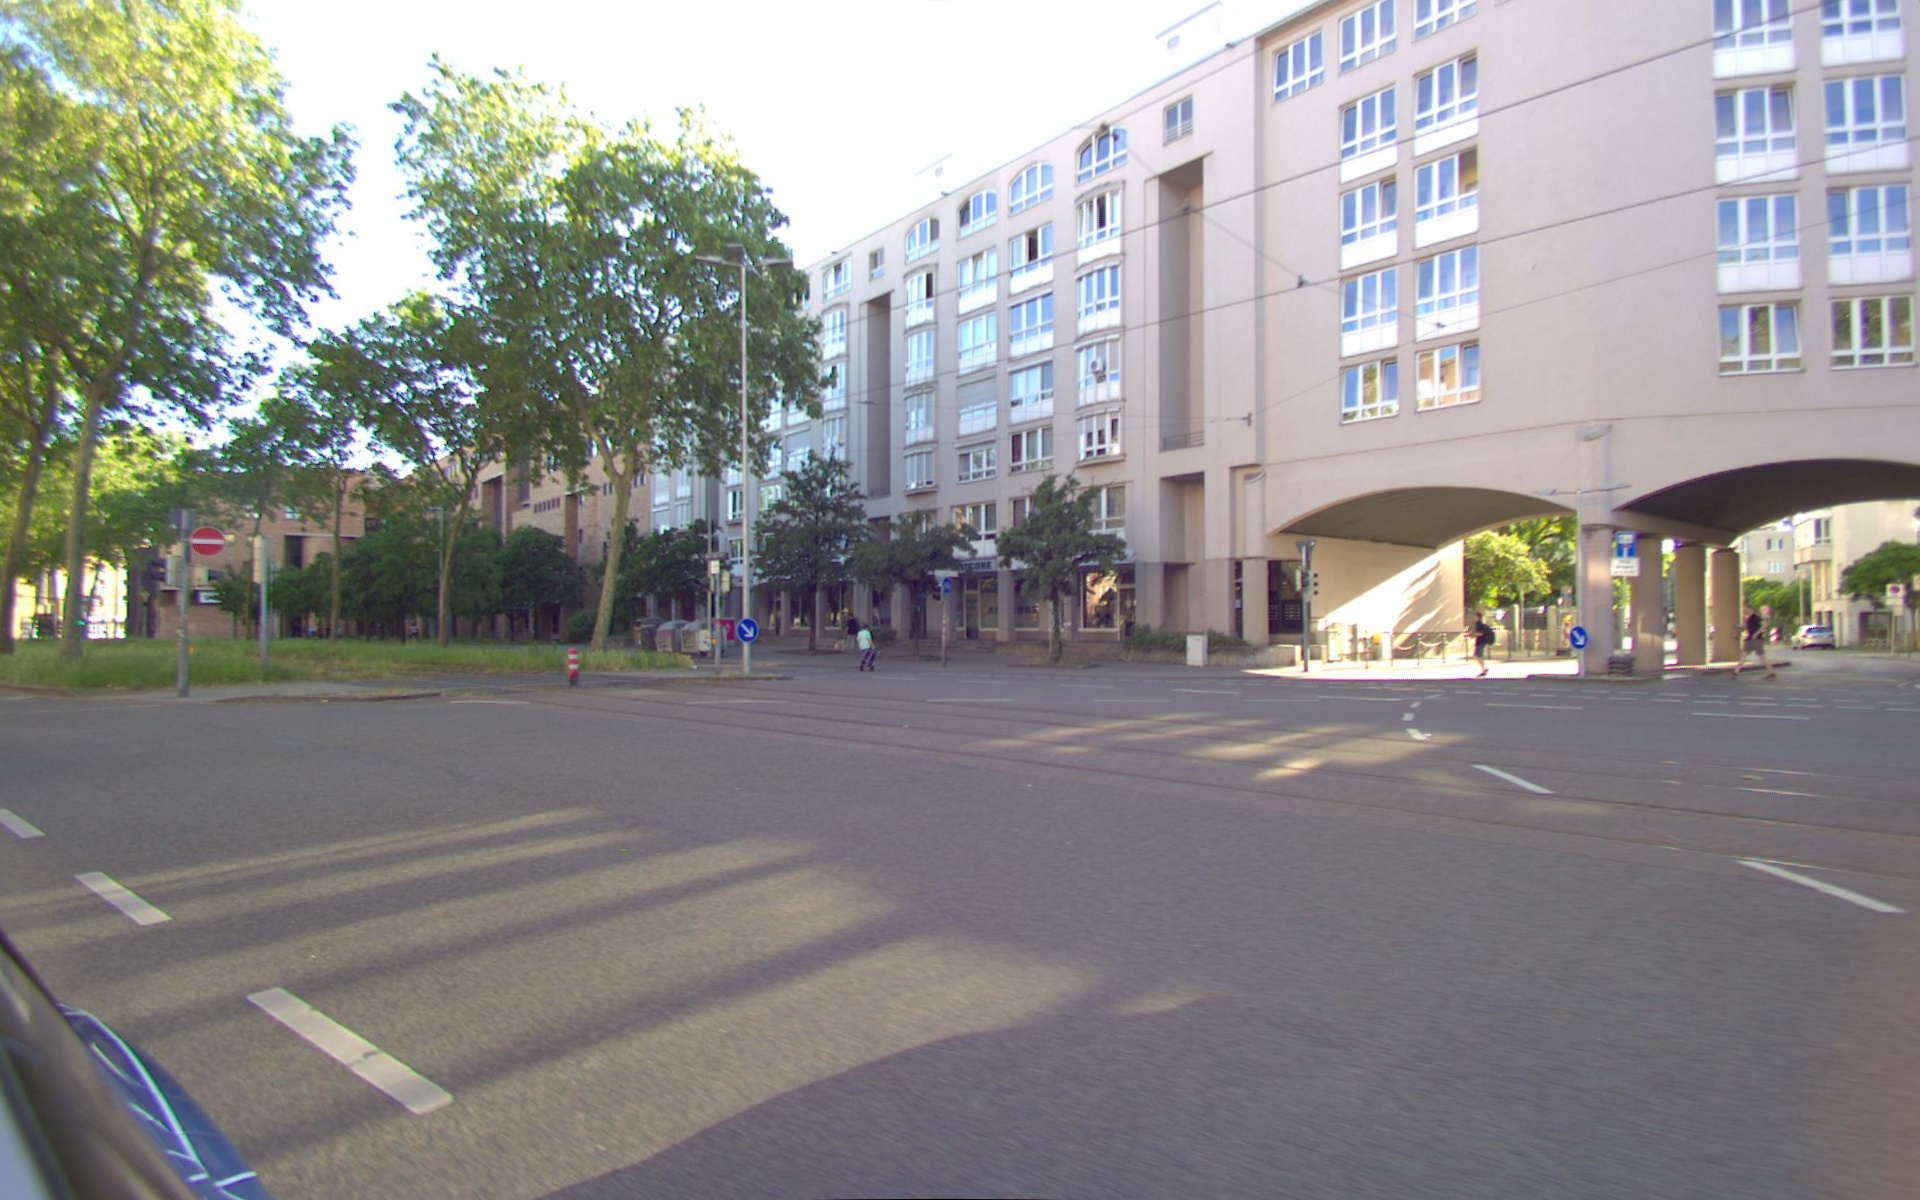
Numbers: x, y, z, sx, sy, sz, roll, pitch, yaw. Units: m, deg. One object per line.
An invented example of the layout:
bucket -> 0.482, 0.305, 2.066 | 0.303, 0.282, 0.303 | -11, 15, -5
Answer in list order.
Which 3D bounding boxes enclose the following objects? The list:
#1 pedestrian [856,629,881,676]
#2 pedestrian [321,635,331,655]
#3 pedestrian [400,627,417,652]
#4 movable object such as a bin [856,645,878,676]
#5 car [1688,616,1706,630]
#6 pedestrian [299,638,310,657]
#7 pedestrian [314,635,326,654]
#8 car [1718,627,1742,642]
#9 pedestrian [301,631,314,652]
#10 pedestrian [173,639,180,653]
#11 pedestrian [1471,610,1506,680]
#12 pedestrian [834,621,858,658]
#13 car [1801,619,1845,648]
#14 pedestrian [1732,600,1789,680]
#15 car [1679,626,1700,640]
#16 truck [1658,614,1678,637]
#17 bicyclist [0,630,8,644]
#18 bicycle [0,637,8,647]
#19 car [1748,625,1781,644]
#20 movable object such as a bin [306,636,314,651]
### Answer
pedestrian -> -3.029, 1.740, 33.572 | 0.534, 1.515, 0.612 | -2, -2, 38
pedestrian -> -54.993, 3.878, 87.798 | 0.595, 1.692, 0.605 | -2, -2, 38
pedestrian -> -41.893, 3.012, 76.881 | 0.900, 1.845, 0.815 | -2, -2, 40
movable object such as a bin -> -3.020, 1.965, 32.888 | 0.503, 0.960, 0.540 | 0, -2, -38
car -> 98.062, 3.009, 134.683 | 1.812, 1.854, 3.954 | -1, -2, 34
pedestrian -> -56.900, 4.128, 87.841 | 0.755, 1.629, 0.657 | -2, -2, 38
pedestrian -> -55.228, 3.814, 87.341 | 0.755, 1.629, 0.657 | -2, -2, 38
car -> 74.508, 3.304, 97.969 | 1.682, 1.406, 3.611 | -2, -2, 35
pedestrian -> -55.798, 3.529, 86.543 | 0.795, 1.735, 0.657 | -2, -2, 38
pedestrian -> -86.233, 5.100, 111.359 | 0.650, 1.555, 0.414 | -2, -2, 28
pedestrian -> 14.576, 1.241, 27.895 | 0.749, 1.884, 0.849 | -2, -2, 31
pedestrian -> -5.103, 1.757, 45.251 | 0.698, 1.651, 0.790 | 1, -2, -40
car -> 53.392, 2.040, 62.641 | 1.897, 1.742, 3.607 | -2, -2, 39
pedestrian -> 20.654, 1.034, 26.124 | 0.881, 2.029, 0.831 | -1, -2, 22
car -> 75.485, 3.368, 104.733 | 1.682, 1.406, 3.611 | -2, -2, 35
truck -> 107.000, 3.902, 153.063 | 2.182, 3.359, 6.535 | -2, -2, 33
bicyclist -> -110.194, 4.297, 116.321 | 1.208, 1.583, 0.932 | -3, -3, 39
bicycle -> -110.359, 4.816, 116.420 | 2.434, 1.134, 0.947 | -1, -2, 40
car -> 60.259, 2.553, 75.836 | 1.682, 1.406, 3.611 | -2, -2, 35
movable object such as a bin -> -55.213, 3.708, 86.004 | 0.755, 1.289, 0.352 | -2, -2, 39
